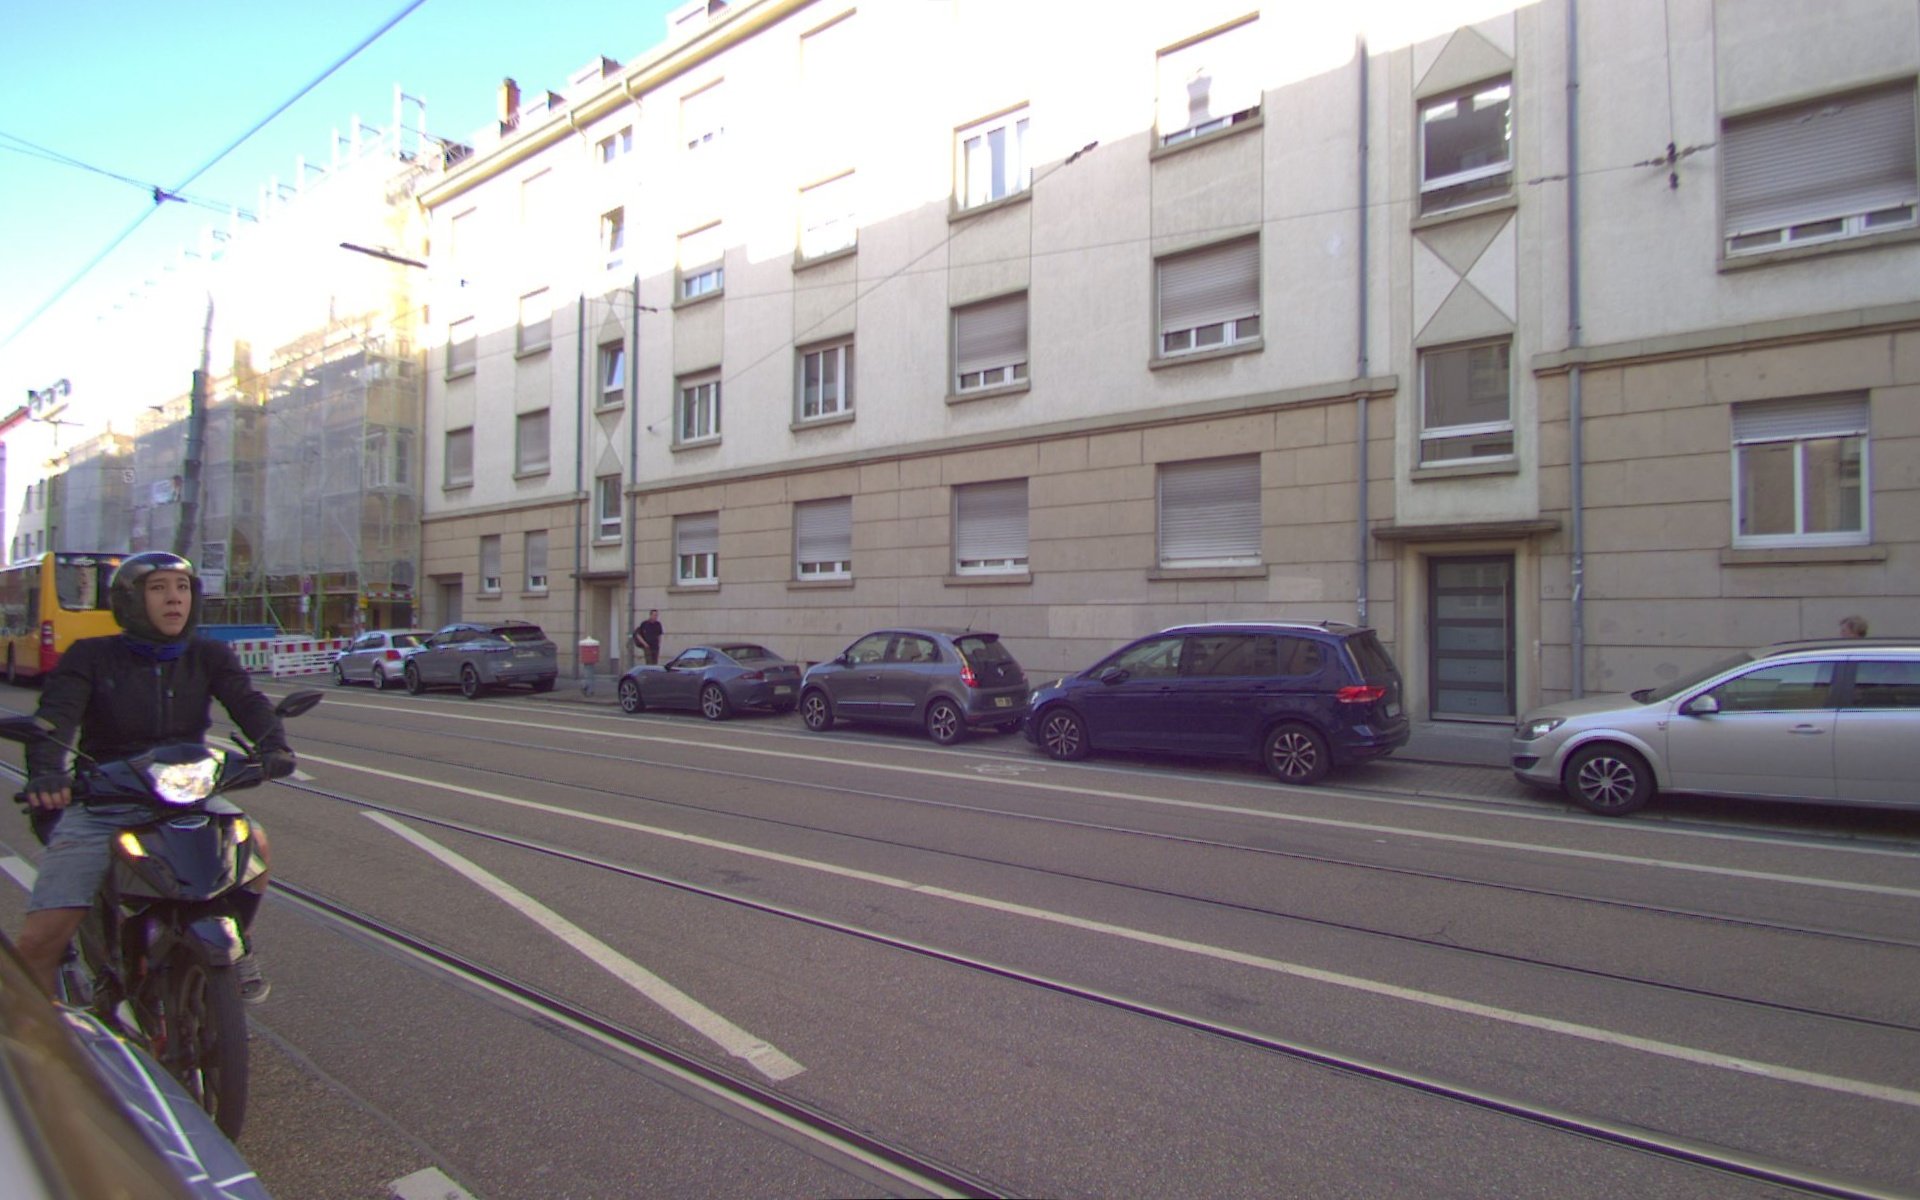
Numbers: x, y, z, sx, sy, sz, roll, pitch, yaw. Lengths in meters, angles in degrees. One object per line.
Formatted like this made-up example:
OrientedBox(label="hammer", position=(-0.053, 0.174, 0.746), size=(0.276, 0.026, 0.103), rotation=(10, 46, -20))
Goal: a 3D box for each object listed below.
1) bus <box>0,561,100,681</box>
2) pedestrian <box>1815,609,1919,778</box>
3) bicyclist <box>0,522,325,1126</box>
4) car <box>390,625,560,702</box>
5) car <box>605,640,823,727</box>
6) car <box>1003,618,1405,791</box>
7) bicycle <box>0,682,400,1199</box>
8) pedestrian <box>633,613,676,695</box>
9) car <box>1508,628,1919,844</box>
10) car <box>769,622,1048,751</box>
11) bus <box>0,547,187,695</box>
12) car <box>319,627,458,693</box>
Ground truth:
OrientedBox(label="bus", position=(-29.128, 0.669, 30.567), size=(10.180, 3.182, 2.696), rotation=(-1, -3, 38))
OrientedBox(label="pedestrian", position=(8.829, 0.884, 9.848), size=(0.721, 1.560, 0.690), rotation=(-2, -3, 41))
OrientedBox(label="bicyclist", position=(-2.635, 0.598, 3.158), size=(0.849, 1.566, 0.833), rotation=(-1, -3, 38))
OrientedBox(label="car", position=(-10.962, 1.362, 22.750), size=(4.400, 1.580, 1.683), rotation=(-1, -3, 39))
OrientedBox(label="car", position=(-4.323, 1.369, 17.557), size=(3.779, 1.225, 1.684), rotation=(0, 0, 37))
OrientedBox(label="car", position=(2.718, 1.050, 11.748), size=(4.235, 1.627, 1.684), rotation=(0, 0, 36))
OrientedBox(label="bicycle", position=(-2.575, 0.891, 3.130), size=(1.971, 1.186, 0.731), rotation=(-1, -3, 38))
OrientedBox(label="pedestrian", position=(-6.551, 1.146, 21.678), size=(0.716, 1.707, 0.575), rotation=(-1, -1, 38))
OrientedBox(label="car", position=(7.157, 1.032, 8.404), size=(4.380, 1.521, 1.683), rotation=(-1, 0, 38))
OrientedBox(label="car", position=(-0.837, 1.147, 14.845), size=(3.995, 1.581, 1.683), rotation=(-1, 0, 39))
OrientedBox(label="bus", position=(-22.097, 0.552, 25.169), size=(7.568, 3.186, 2.711), rotation=(-1, -3, 38))
OrientedBox(label="car", position=(-14.540, 1.463, 25.684), size=(3.995, 1.426, 1.683), rotation=(0, 1, 39))
